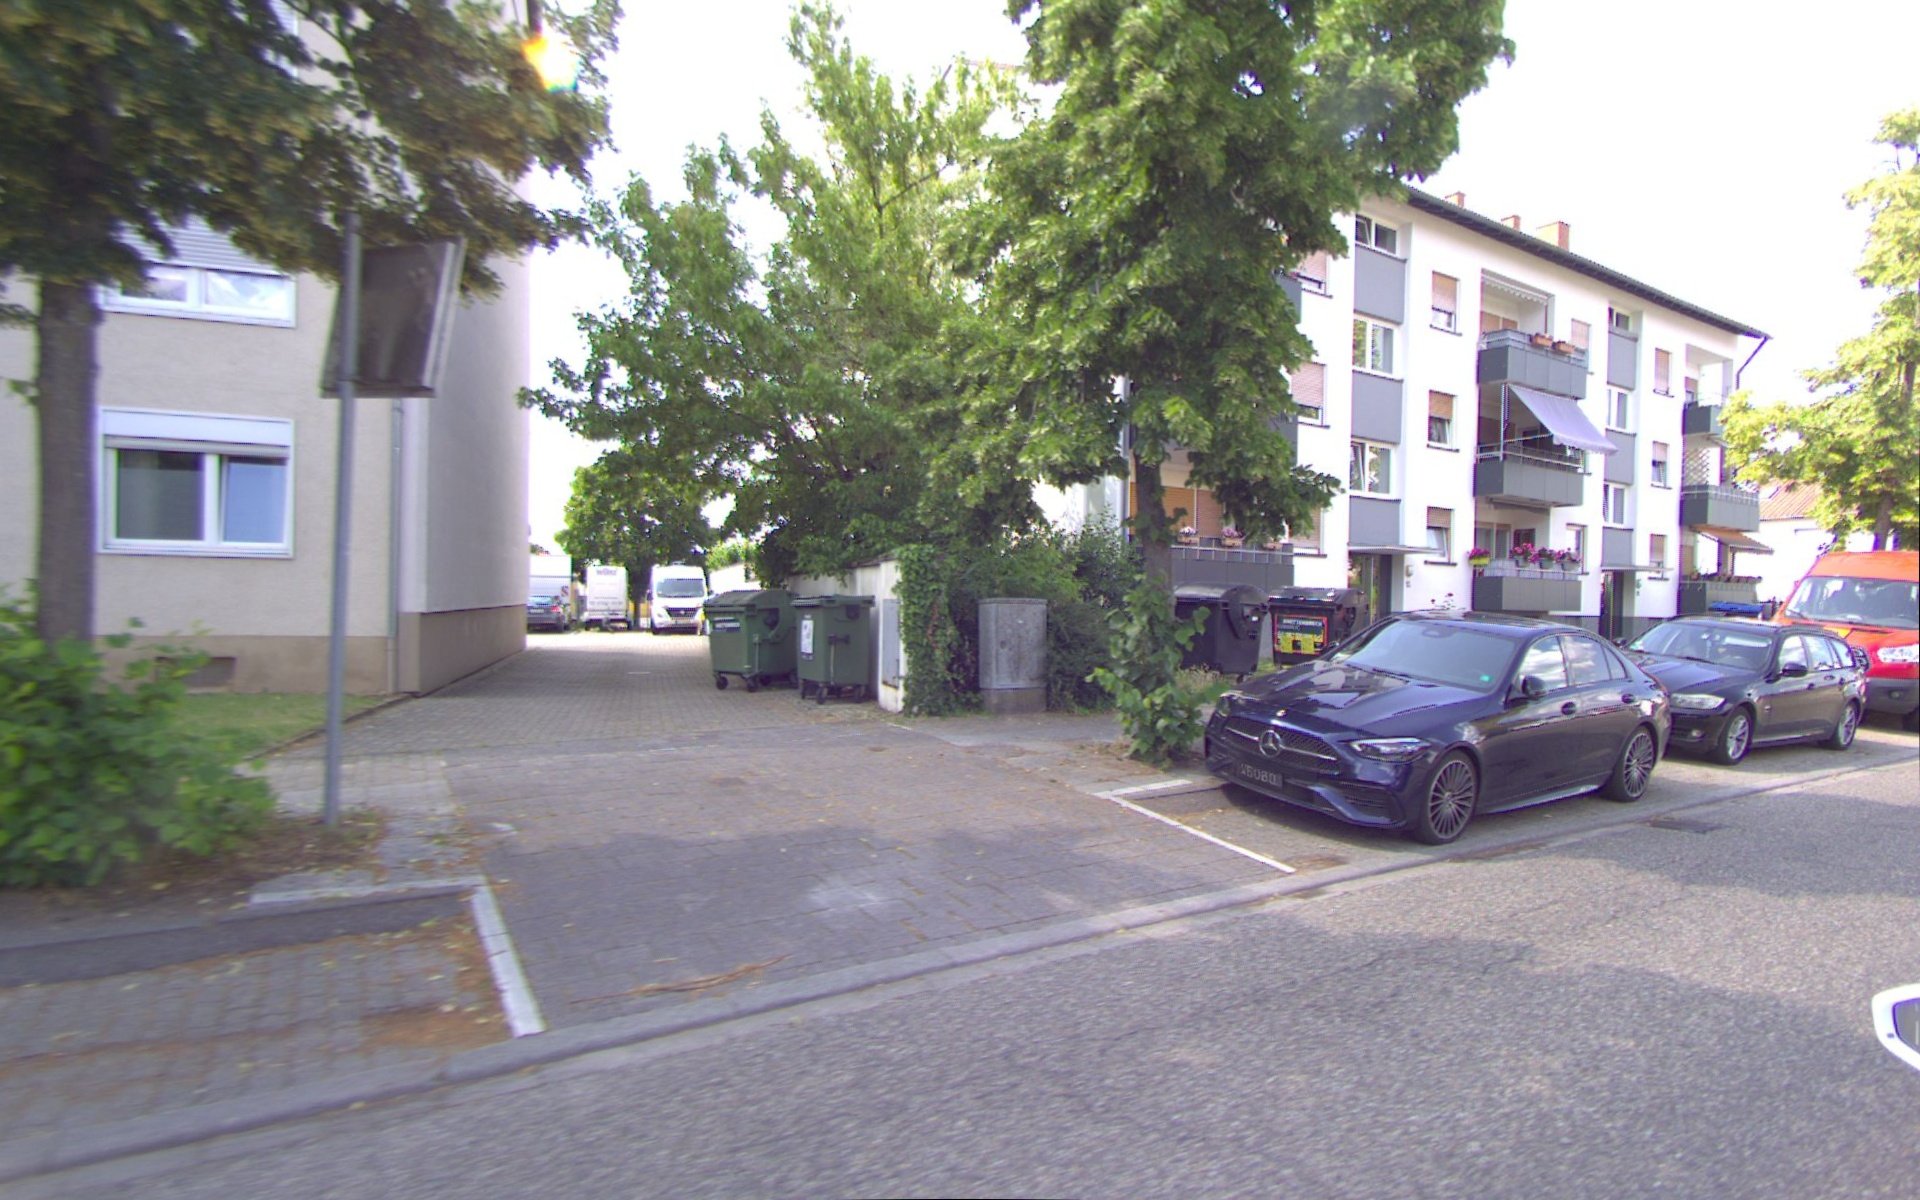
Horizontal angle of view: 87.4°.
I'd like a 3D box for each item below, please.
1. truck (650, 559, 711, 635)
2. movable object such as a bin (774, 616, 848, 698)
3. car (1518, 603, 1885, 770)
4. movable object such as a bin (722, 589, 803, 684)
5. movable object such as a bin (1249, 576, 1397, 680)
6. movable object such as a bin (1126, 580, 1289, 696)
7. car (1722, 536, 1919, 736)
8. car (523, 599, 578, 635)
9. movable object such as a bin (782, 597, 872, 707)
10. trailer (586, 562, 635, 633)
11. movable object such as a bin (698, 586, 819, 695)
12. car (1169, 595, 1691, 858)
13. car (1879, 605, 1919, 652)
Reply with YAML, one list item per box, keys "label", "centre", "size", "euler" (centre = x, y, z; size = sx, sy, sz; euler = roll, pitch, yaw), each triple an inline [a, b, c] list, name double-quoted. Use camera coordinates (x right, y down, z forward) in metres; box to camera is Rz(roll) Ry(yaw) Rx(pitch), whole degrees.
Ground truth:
- label: "truck"
  centre: [-10.492, -0.053, 38.012]
  size: [1.965, 2.656, 5.221]
  euler: [0, -1, -13]
- label: "movable object such as a bin"
  centre: [-2.045, 0.766, 13.771]
  size: [0.865, 1.038, 0.624]
  euler: [-3, 1, -20]
- label: "car"
  centre: [8.614, 0.894, 11.583]
  size: [4.385, 1.477, 1.777]
  euler: [2, 4, -31]
- label: "movable object such as a bin"
  centre: [-3.247, 0.575, 16.462]
  size: [0.918, 1.457, 1.238]
  euler: [-3, 1, -29]
- label: "movable object such as a bin"
  centre: [5.694, 0.424, 15.793]
  size: [1.805, 1.524, 1.348]
  euler: [1, 0, -30]
- label: "movable object such as a bin"
  centre: [3.485, 0.508, 14.186]
  size: [1.805, 1.524, 1.348]
  euler: [1, 0, -30]
- label: "car"
  centre: [14.255, 0.454, 15.321]
  size: [5.773, 2.534, 2.053]
  euler: [1, 4, -31]
- label: "car"
  centre: [-15.420, 0.638, 37.937]
  size: [1.376, 1.290, 3.321]
  euler: [0, -1, -13]
- label: "movable object such as a bin"
  centre: [-1.719, 0.631, 12.872]
  size: [0.865, 1.292, 1.190]
  euler: [-3, 1, -20]
- label: "trailer"
  centre: [-13.722, -0.065, 39.566]
  size: [1.503, 2.656, 2.967]
  euler: [0, -1, -13]
- label: "movable object such as a bin"
  centre: [-2.947, 0.563, 14.657]
  size: [1.356, 1.457, 1.189]
  euler: [-3, 1, -32]
- label: "car"
  centre: [3.909, 0.811, 8.091]
  size: [4.391, 1.477, 1.775]
  euler: [1, 4, -35]
- label: "car"
  centre: [33.250, 1.031, 33.910]
  size: [4.378, 1.477, 1.780]
  euler: [2, 4, -27]
